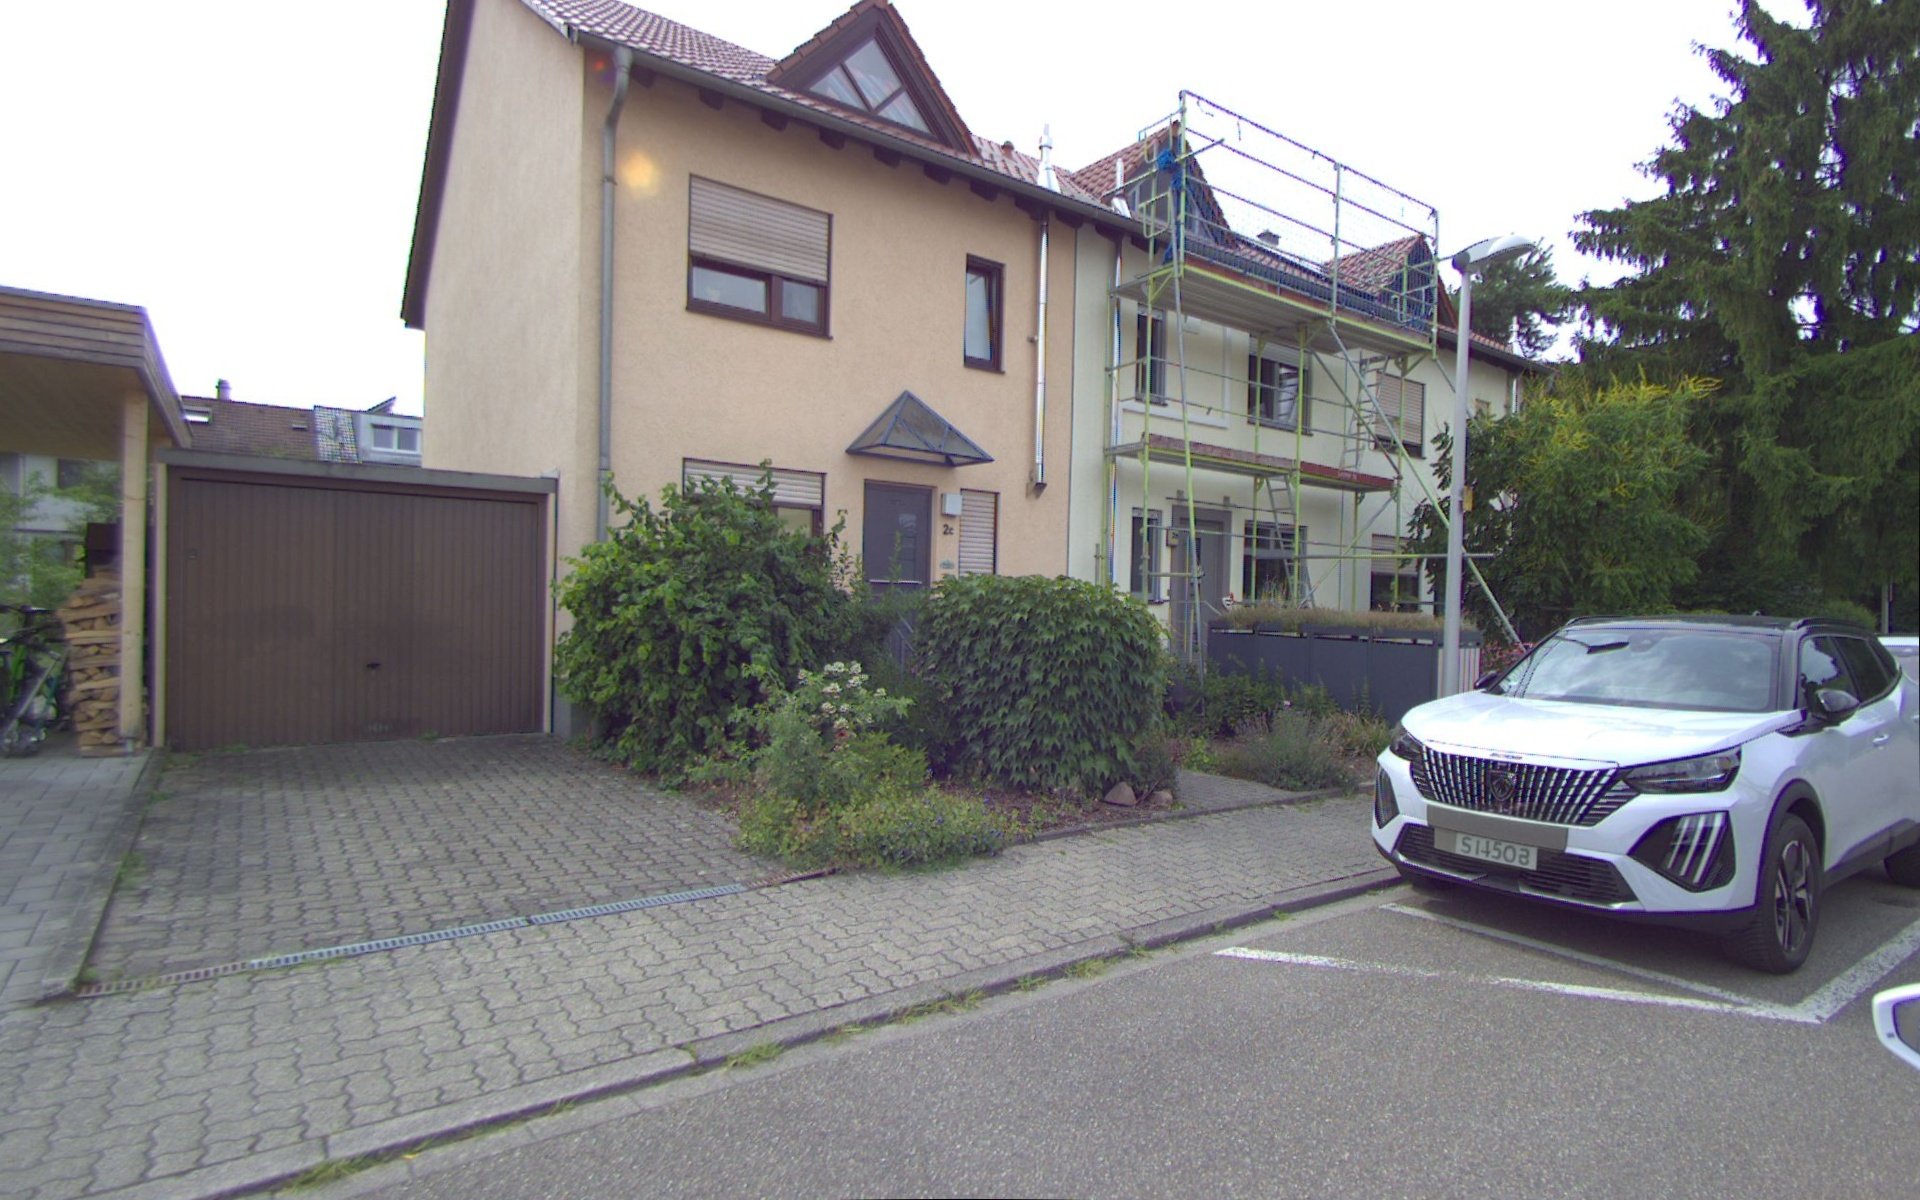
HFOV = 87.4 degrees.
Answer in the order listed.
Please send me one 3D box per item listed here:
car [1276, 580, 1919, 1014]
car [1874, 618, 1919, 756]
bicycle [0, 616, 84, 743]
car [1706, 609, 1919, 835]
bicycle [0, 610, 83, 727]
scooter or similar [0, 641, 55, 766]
[{"bbox_3d":[4.061,0.758,5.789,4.589,1.577,1.921,1,-1,-36],"label":"car"},{"bbox_3d":[12.759,1.020,12.107,4.099,1.551,1.780,1,-1,-36],"label":"car"},{"bbox_3d":[-7.966,0.628,8.477,0.352,0.965,1.924,1,-1,-26],"label":"bicycle"},{"bbox_3d":[8.472,0.905,8.806,4.802,1.583,1.797,1,-1,-37],"label":"car"},{"bbox_3d":[-8.819,0.600,9.452,0.352,0.965,1.923,1,0,-26],"label":"bicycle"},{"bbox_3d":[-6.931,0.721,7.304,0.359,0.808,1.293,1,-1,-35],"label":"scooter or similar"}]
